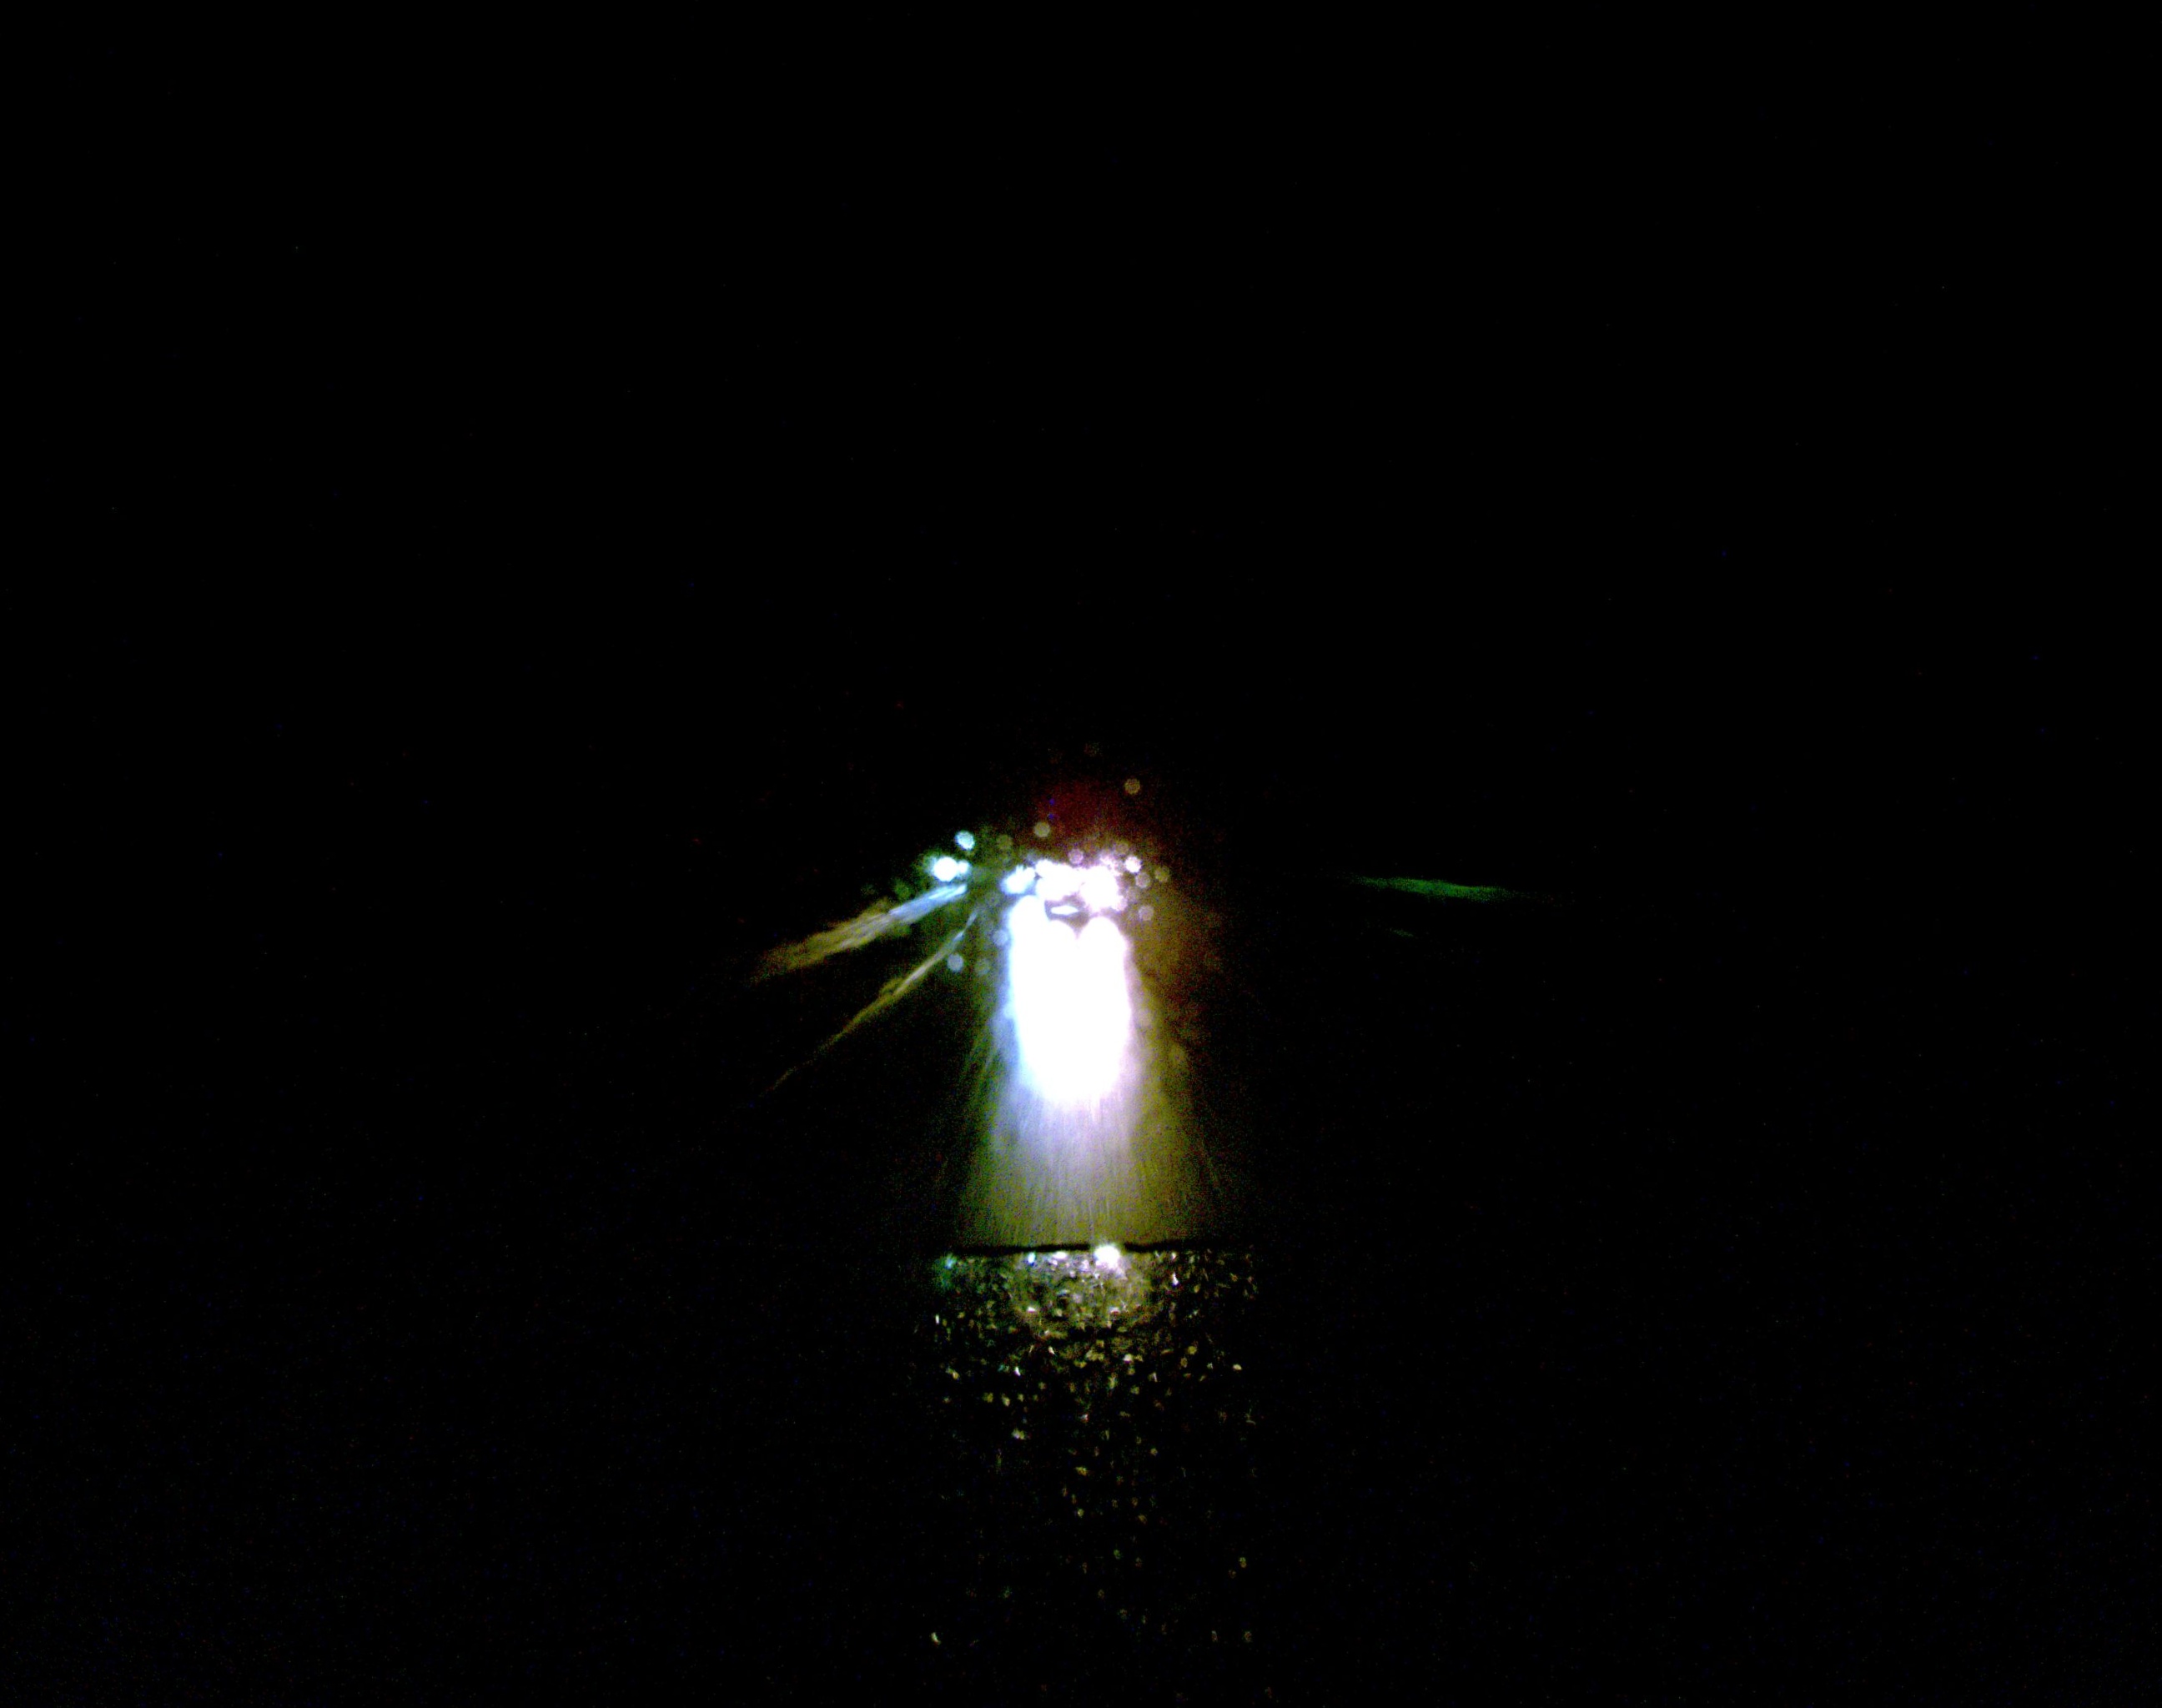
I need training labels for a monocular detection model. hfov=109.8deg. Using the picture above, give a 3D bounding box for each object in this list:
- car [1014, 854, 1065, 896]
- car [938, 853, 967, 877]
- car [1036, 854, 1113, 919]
[{"bbox_3d":[-1.784,0.838,31.754,1.850,1.441,3.872,-4,2,-6],"label":"car"},{"bbox_3d":[-10.137,0.838,59.901,1.786,1.696,3.994,-4,2,-15],"label":"car"},{"bbox_3d":[-0.288,0.813,21.290,1.850,1.441,3.997,-3,2,-4],"label":"car"}]
